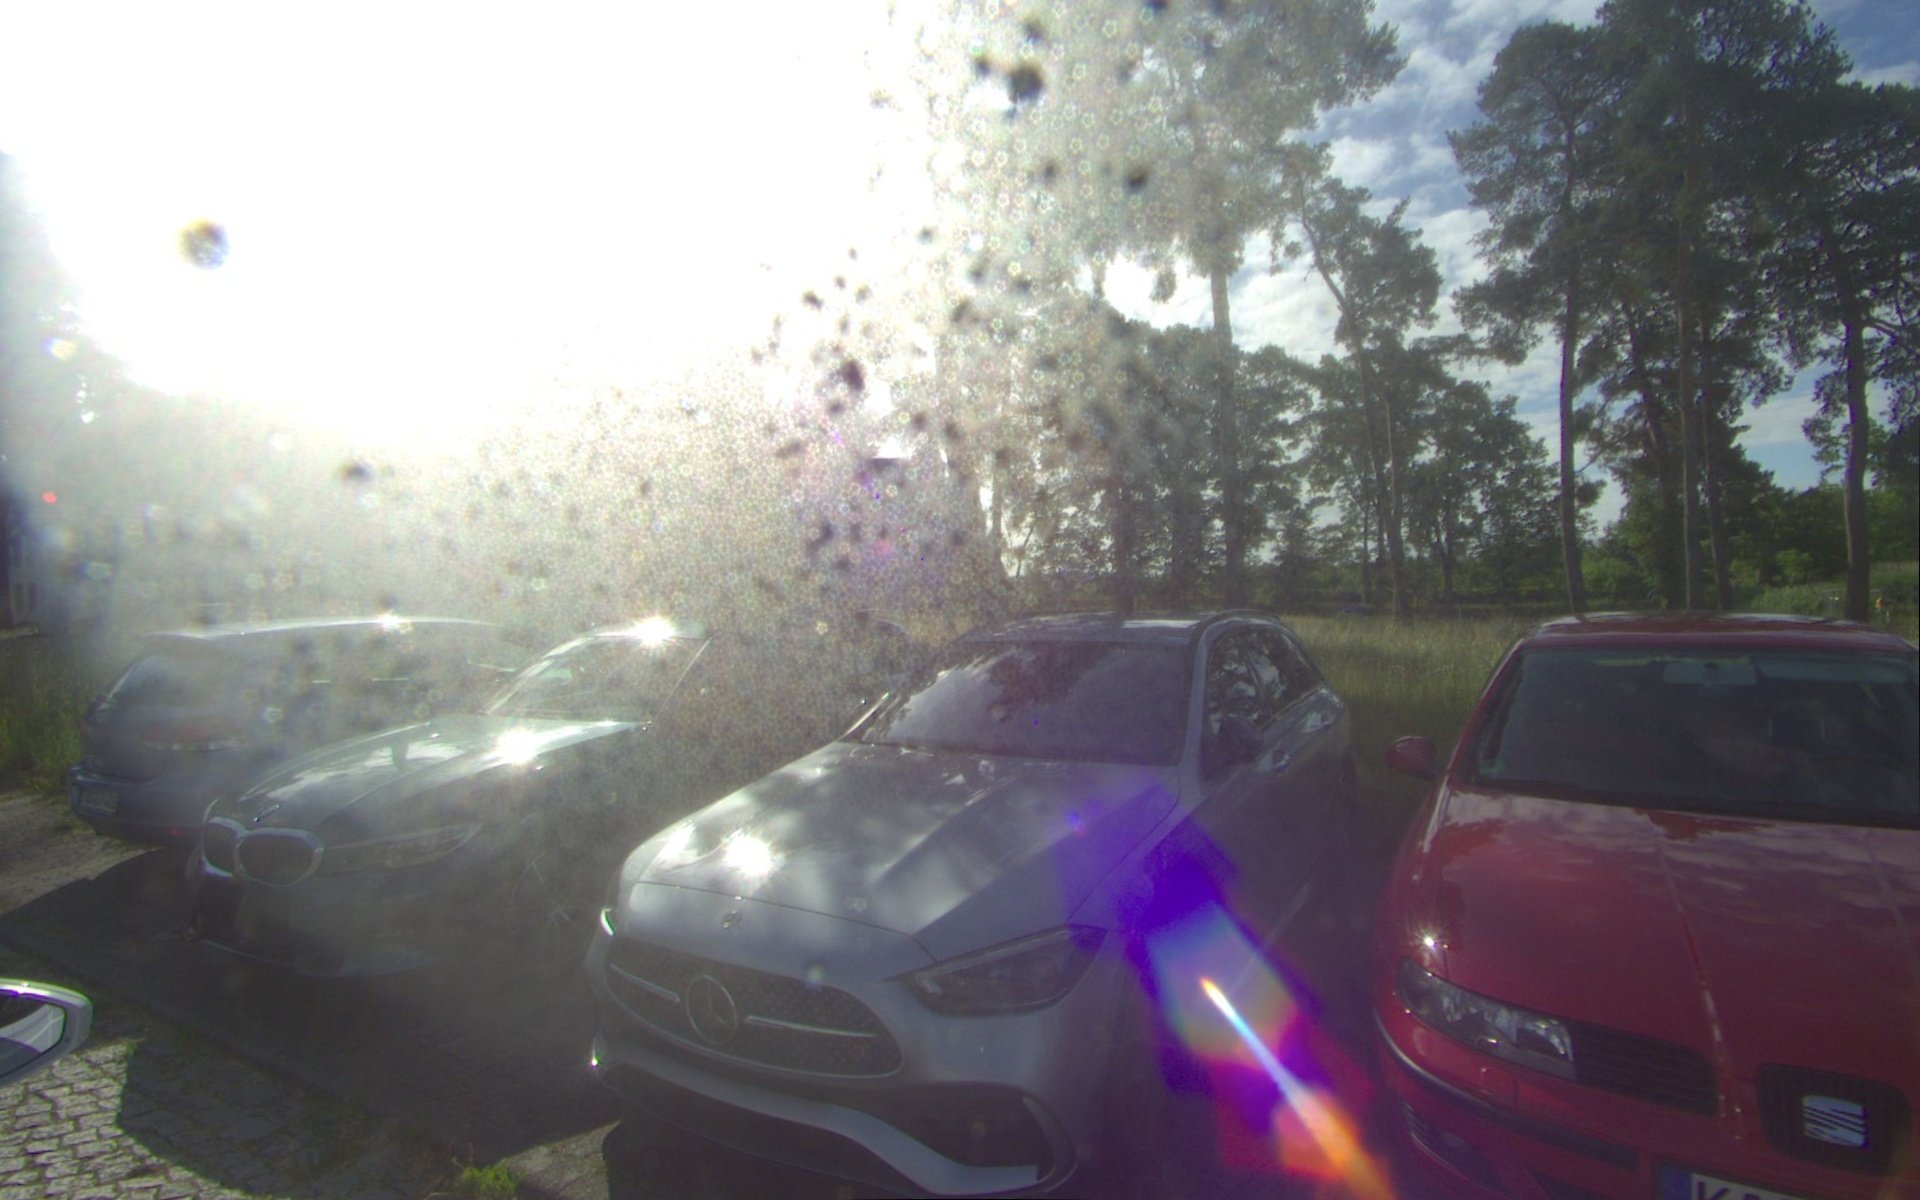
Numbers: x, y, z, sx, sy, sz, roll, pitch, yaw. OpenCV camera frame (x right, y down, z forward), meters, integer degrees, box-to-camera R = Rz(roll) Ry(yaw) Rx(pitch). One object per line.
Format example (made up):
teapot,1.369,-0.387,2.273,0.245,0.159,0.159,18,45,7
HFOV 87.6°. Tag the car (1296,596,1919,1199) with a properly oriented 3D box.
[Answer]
car,2.375,0.767,3.133,1.613,1.469,4.118,0,1,32

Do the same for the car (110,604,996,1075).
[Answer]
car,-1.624,0.804,5.656,1.613,1.434,4.549,0,1,32

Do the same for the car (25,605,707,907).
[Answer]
car,-3.831,0.810,7.169,1.613,1.434,3.873,0,1,32

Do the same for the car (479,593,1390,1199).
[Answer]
car,0.543,0.733,4.282,1.755,1.434,4.421,0,1,32
